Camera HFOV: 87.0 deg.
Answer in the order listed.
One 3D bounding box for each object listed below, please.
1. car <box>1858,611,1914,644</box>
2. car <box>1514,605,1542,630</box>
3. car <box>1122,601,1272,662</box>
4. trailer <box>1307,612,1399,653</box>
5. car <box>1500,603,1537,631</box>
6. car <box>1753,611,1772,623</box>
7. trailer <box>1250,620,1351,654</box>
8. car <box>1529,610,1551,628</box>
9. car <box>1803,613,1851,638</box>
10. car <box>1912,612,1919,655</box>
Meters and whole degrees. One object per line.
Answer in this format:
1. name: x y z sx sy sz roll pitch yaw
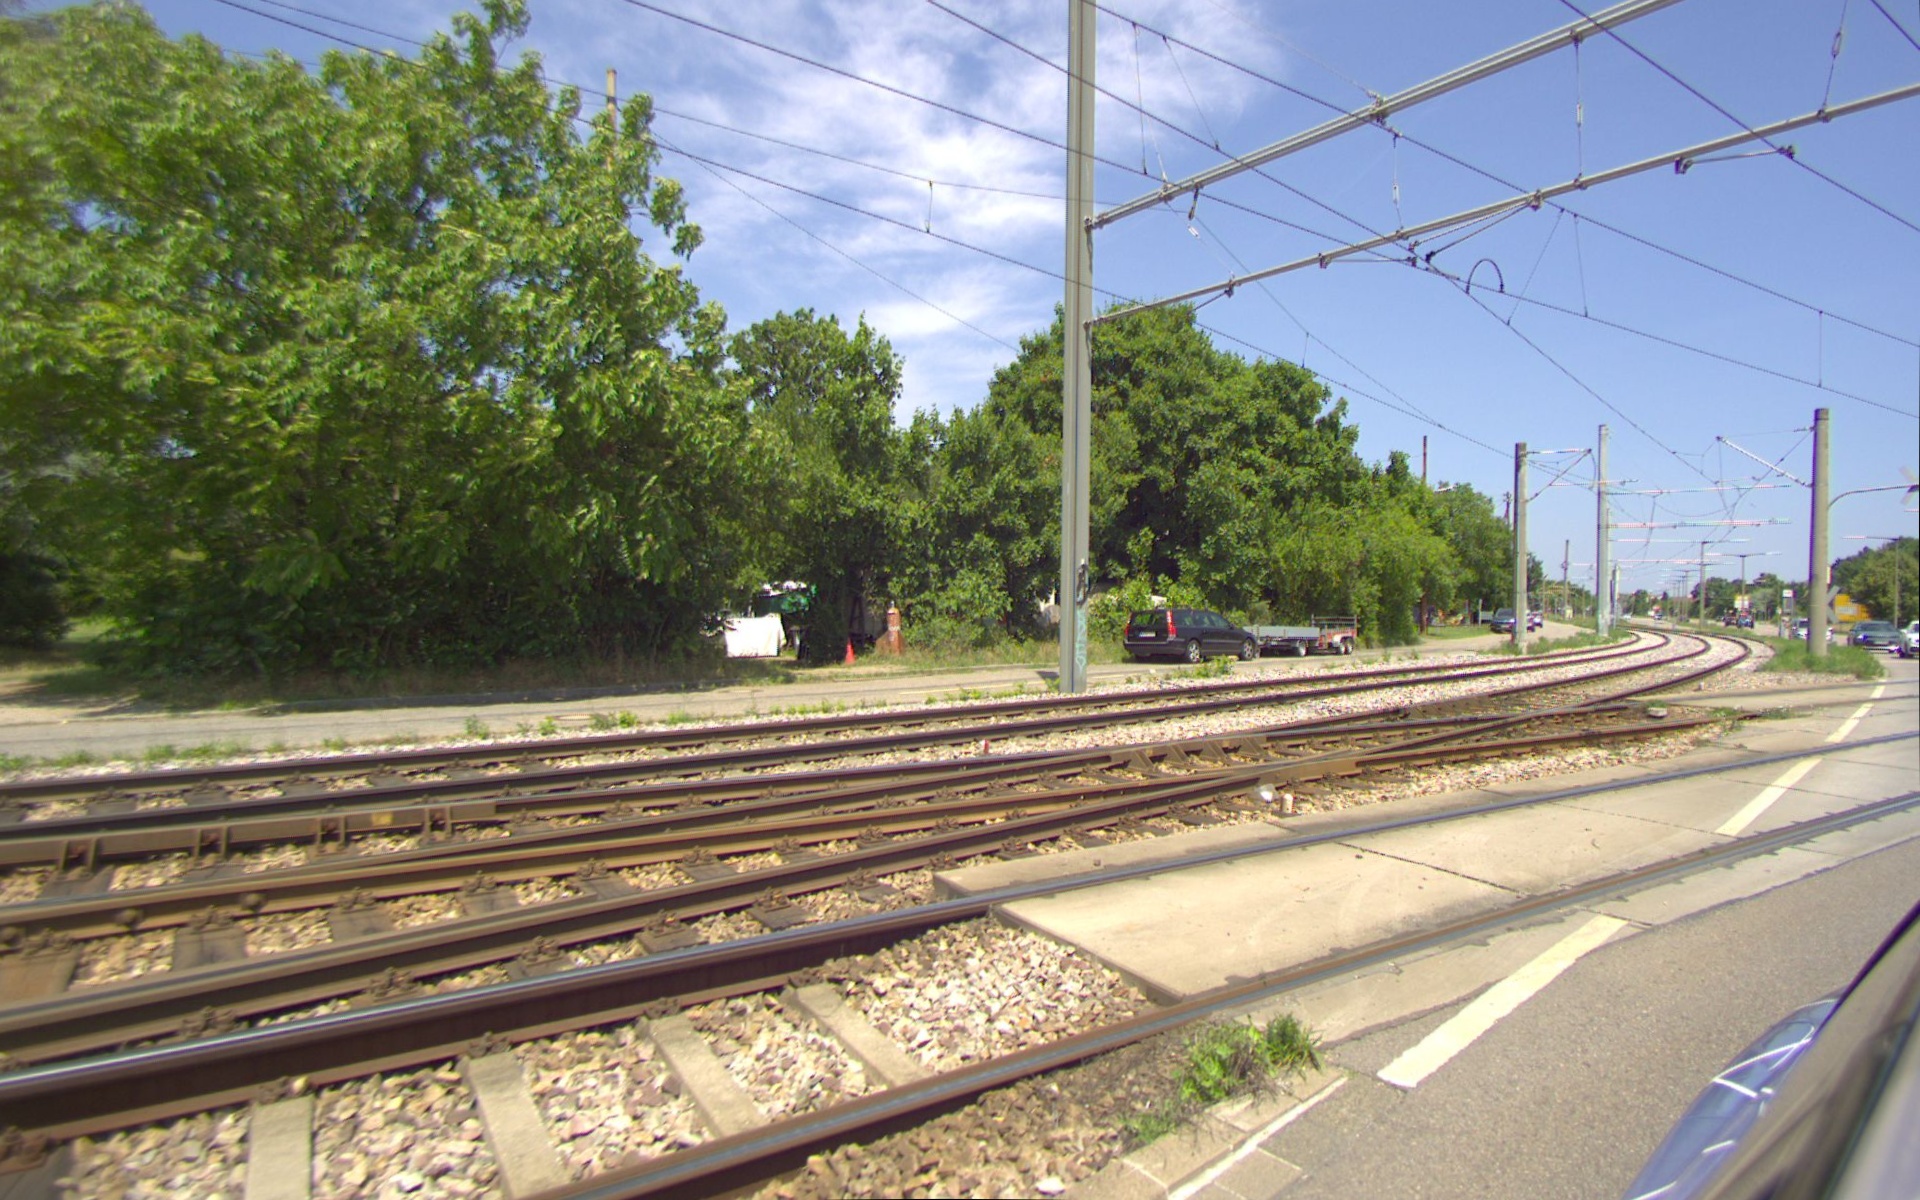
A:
1. car: 44.775 1.297 48.984 1.501 1.449 3.317 1 1 34
2. car: 41.194 1.233 73.319 1.668 1.644 4.661 1 1 30
3. car: 6.574 0.796 27.714 4.663 1.444 1.798 -1 2 -44
4. trailer: 13.600 1.083 34.925 3.934 1.237 1.463 -1 2 -44
5. car: 37.738 1.102 68.296 1.821 1.677 4.758 1 1 33
6. car: 117.549 2.476 148.178 1.820 1.622 4.428 1 0 34
7. trailer: 10.843 1.155 32.080 3.934 1.007 1.419 2 -3 -45
8. car: 53.383 1.750 93.096 1.673 1.432 4.499 1 1 31
9. car: 58.578 1.699 68.408 1.795 1.492 3.476 1 1 29
10. car: 36.764 1.265 37.611 1.765 1.460 4.069 1 2 40
